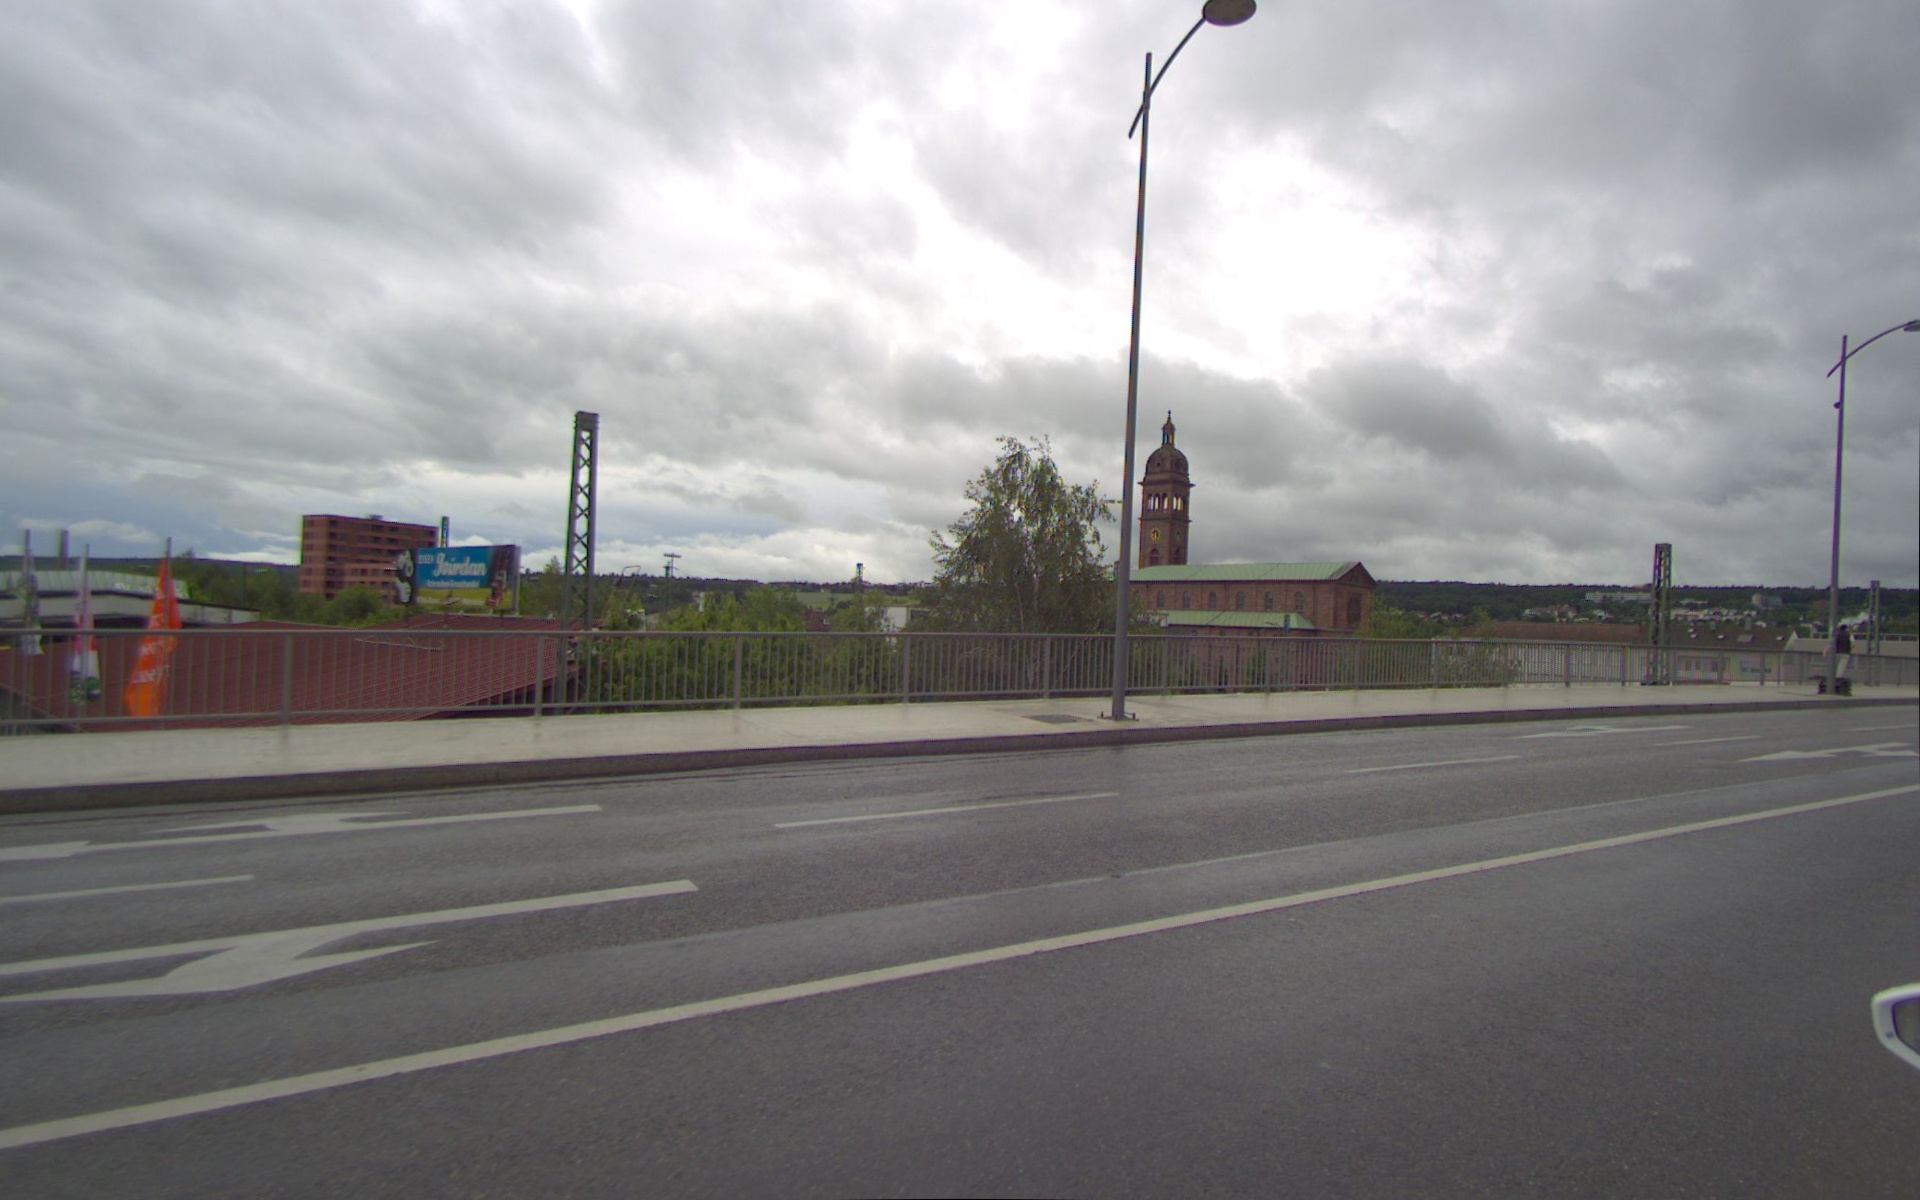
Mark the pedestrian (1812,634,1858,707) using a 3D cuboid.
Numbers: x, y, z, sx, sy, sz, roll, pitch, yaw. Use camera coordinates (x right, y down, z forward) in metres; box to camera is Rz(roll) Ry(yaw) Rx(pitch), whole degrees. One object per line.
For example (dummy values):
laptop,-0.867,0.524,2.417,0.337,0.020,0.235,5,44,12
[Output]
pedestrian,25.673,2.067,29.466,0.881,2.074,0.753,5,-3,-30
